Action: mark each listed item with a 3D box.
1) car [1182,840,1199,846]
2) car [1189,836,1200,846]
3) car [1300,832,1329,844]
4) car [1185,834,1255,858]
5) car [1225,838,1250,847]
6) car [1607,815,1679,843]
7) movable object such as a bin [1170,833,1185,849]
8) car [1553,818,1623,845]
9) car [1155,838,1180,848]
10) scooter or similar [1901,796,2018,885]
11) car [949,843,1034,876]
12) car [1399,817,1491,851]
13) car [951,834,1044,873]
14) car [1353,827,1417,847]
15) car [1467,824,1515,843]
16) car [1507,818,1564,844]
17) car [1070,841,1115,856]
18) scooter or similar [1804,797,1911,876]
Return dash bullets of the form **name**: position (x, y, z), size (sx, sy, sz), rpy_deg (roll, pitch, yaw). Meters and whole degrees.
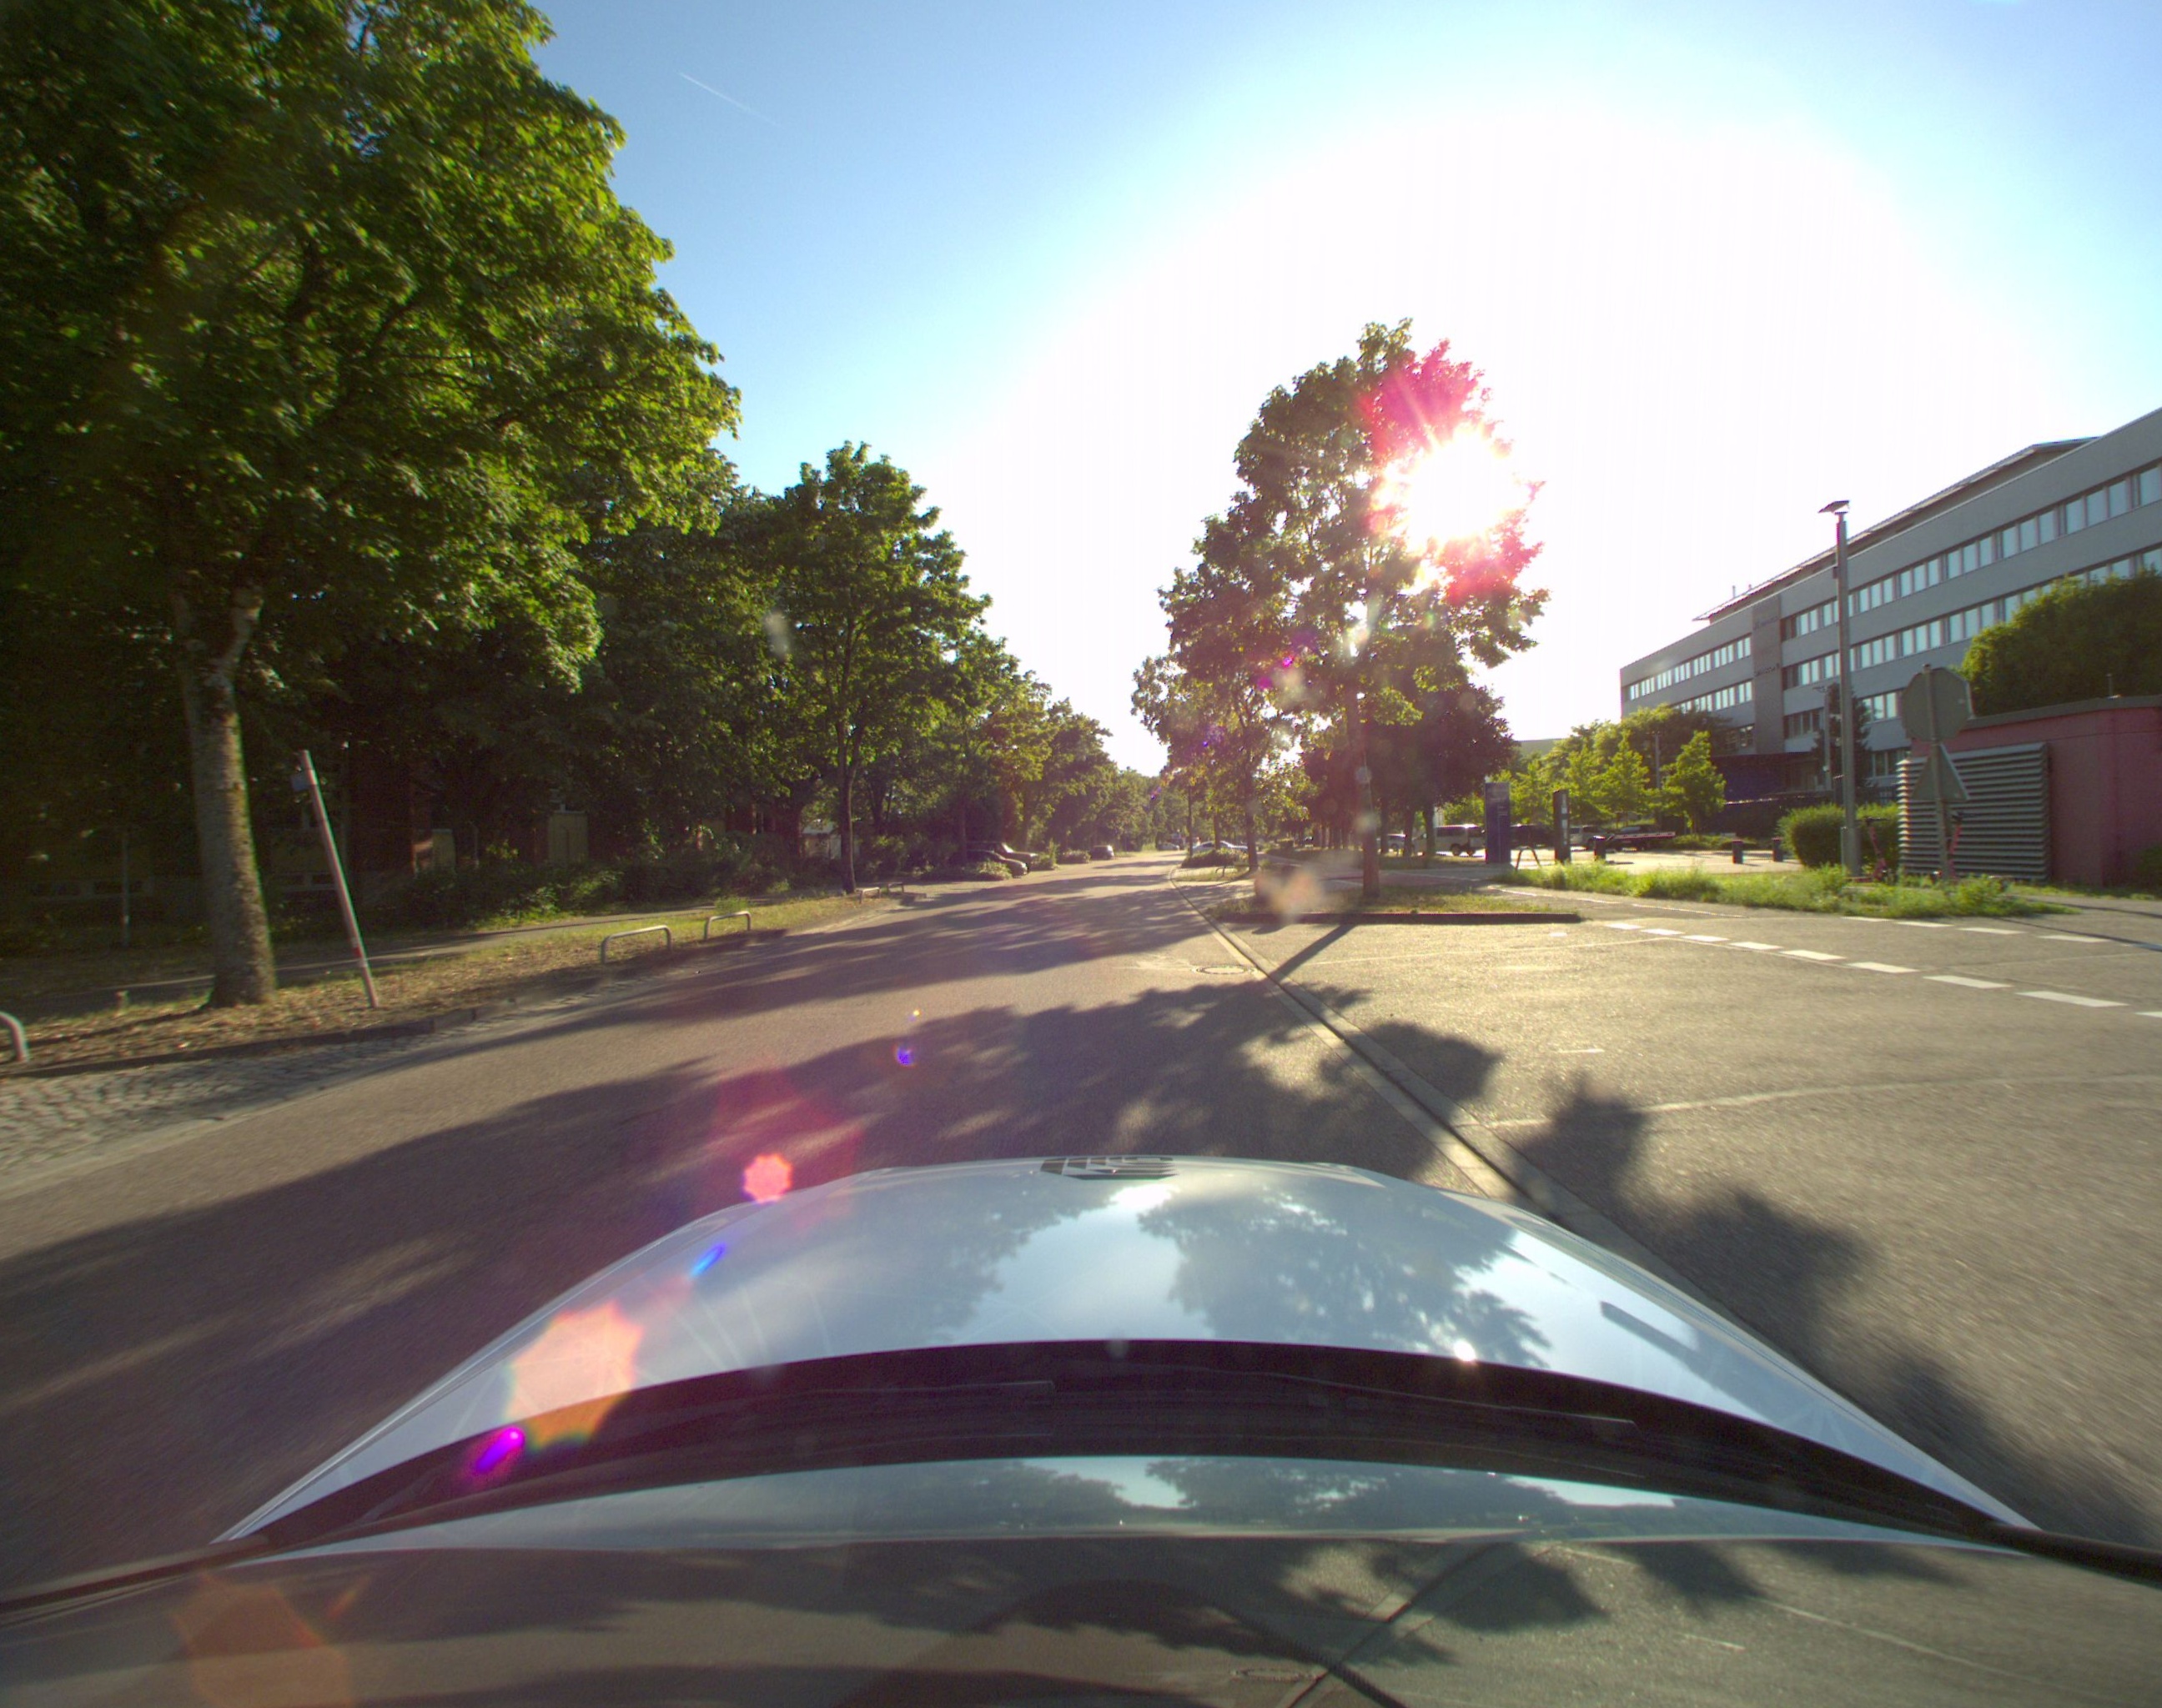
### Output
- **car**: position (27.988, -2.809, 208.214), size (4.337, 1.479, 2.003), rpy_deg (-2, 1, 5)
- **car**: position (30.308, -3.473, 217.307), size (2.504, 2.386, 4.380), rpy_deg (-2, 0, 6)
- **car**: position (38.851, -2.646, 135.752), size (4.401, 1.705, 2.066), rpy_deg (-2, 0, 11)
- **car**: position (10.513, -0.610, 61.966), size (5.148, 1.574, 2.162), rpy_deg (-3, 1, 6)
- **car**: position (31.321, -2.250, 162.860), size (4.808, 1.479, 2.007), rpy_deg (-2, 1, 13)
- **car**: position (30.804, -1.364, 44.621), size (4.014, 1.354, 1.789), rpy_deg (-3, 1, -32)
- **movable object such as a bin**: position (20.033, -2.744, 168.647), size (2.822, 3.068, 4.939), rpy_deg (-2, 0, 8)
- **car**: position (31.966, -1.441, 51.336), size (4.324, 1.528, 1.791), rpy_deg (-3, 1, -28)
- **car**: position (16.601, -2.128, 156.354), size (4.328, 1.547, 2.007), rpy_deg (-2, 1, 13)
- **scooter or similar**: position (13.386, -0.214, 12.447), size (0.517, 1.272, 1.202), rpy_deg (-3, 1, 4)
- **car**: position (-4.780, 0.292, 43.617), size (4.191, 1.530, 1.708), rpy_deg (-2, 1, 5)
- **car**: position (22.469, -1.224, 50.476), size (2.008, 1.933, 4.902), rpy_deg (-3, 2, -34)
- **car**: position (-4.817, -0.041, 47.616), size (4.981, 2.020, 2.178), rpy_deg (-2, 1, 5)
- **car**: position (27.015, -1.507, 72.478), size (2.011, 1.574, 4.895), rpy_deg (-3, 1, -41)
- **car**: position (36.455, -1.832, 72.396), size (4.317, 1.527, 1.750), rpy_deg (-3, 1, -30)
- **car**: position (34.256, -1.760, 61.333), size (4.512, 1.749, 1.749), rpy_deg (-3, 1, -33)
- **car**: position (1.193, -0.584, 84.187), size (4.332, 1.479, 2.005), rpy_deg (0, 1, 9)
- **scooter or similar**: position (13.221, -0.293, 13.911), size (0.517, 1.272, 1.389), rpy_deg (-3, 1, 4)
